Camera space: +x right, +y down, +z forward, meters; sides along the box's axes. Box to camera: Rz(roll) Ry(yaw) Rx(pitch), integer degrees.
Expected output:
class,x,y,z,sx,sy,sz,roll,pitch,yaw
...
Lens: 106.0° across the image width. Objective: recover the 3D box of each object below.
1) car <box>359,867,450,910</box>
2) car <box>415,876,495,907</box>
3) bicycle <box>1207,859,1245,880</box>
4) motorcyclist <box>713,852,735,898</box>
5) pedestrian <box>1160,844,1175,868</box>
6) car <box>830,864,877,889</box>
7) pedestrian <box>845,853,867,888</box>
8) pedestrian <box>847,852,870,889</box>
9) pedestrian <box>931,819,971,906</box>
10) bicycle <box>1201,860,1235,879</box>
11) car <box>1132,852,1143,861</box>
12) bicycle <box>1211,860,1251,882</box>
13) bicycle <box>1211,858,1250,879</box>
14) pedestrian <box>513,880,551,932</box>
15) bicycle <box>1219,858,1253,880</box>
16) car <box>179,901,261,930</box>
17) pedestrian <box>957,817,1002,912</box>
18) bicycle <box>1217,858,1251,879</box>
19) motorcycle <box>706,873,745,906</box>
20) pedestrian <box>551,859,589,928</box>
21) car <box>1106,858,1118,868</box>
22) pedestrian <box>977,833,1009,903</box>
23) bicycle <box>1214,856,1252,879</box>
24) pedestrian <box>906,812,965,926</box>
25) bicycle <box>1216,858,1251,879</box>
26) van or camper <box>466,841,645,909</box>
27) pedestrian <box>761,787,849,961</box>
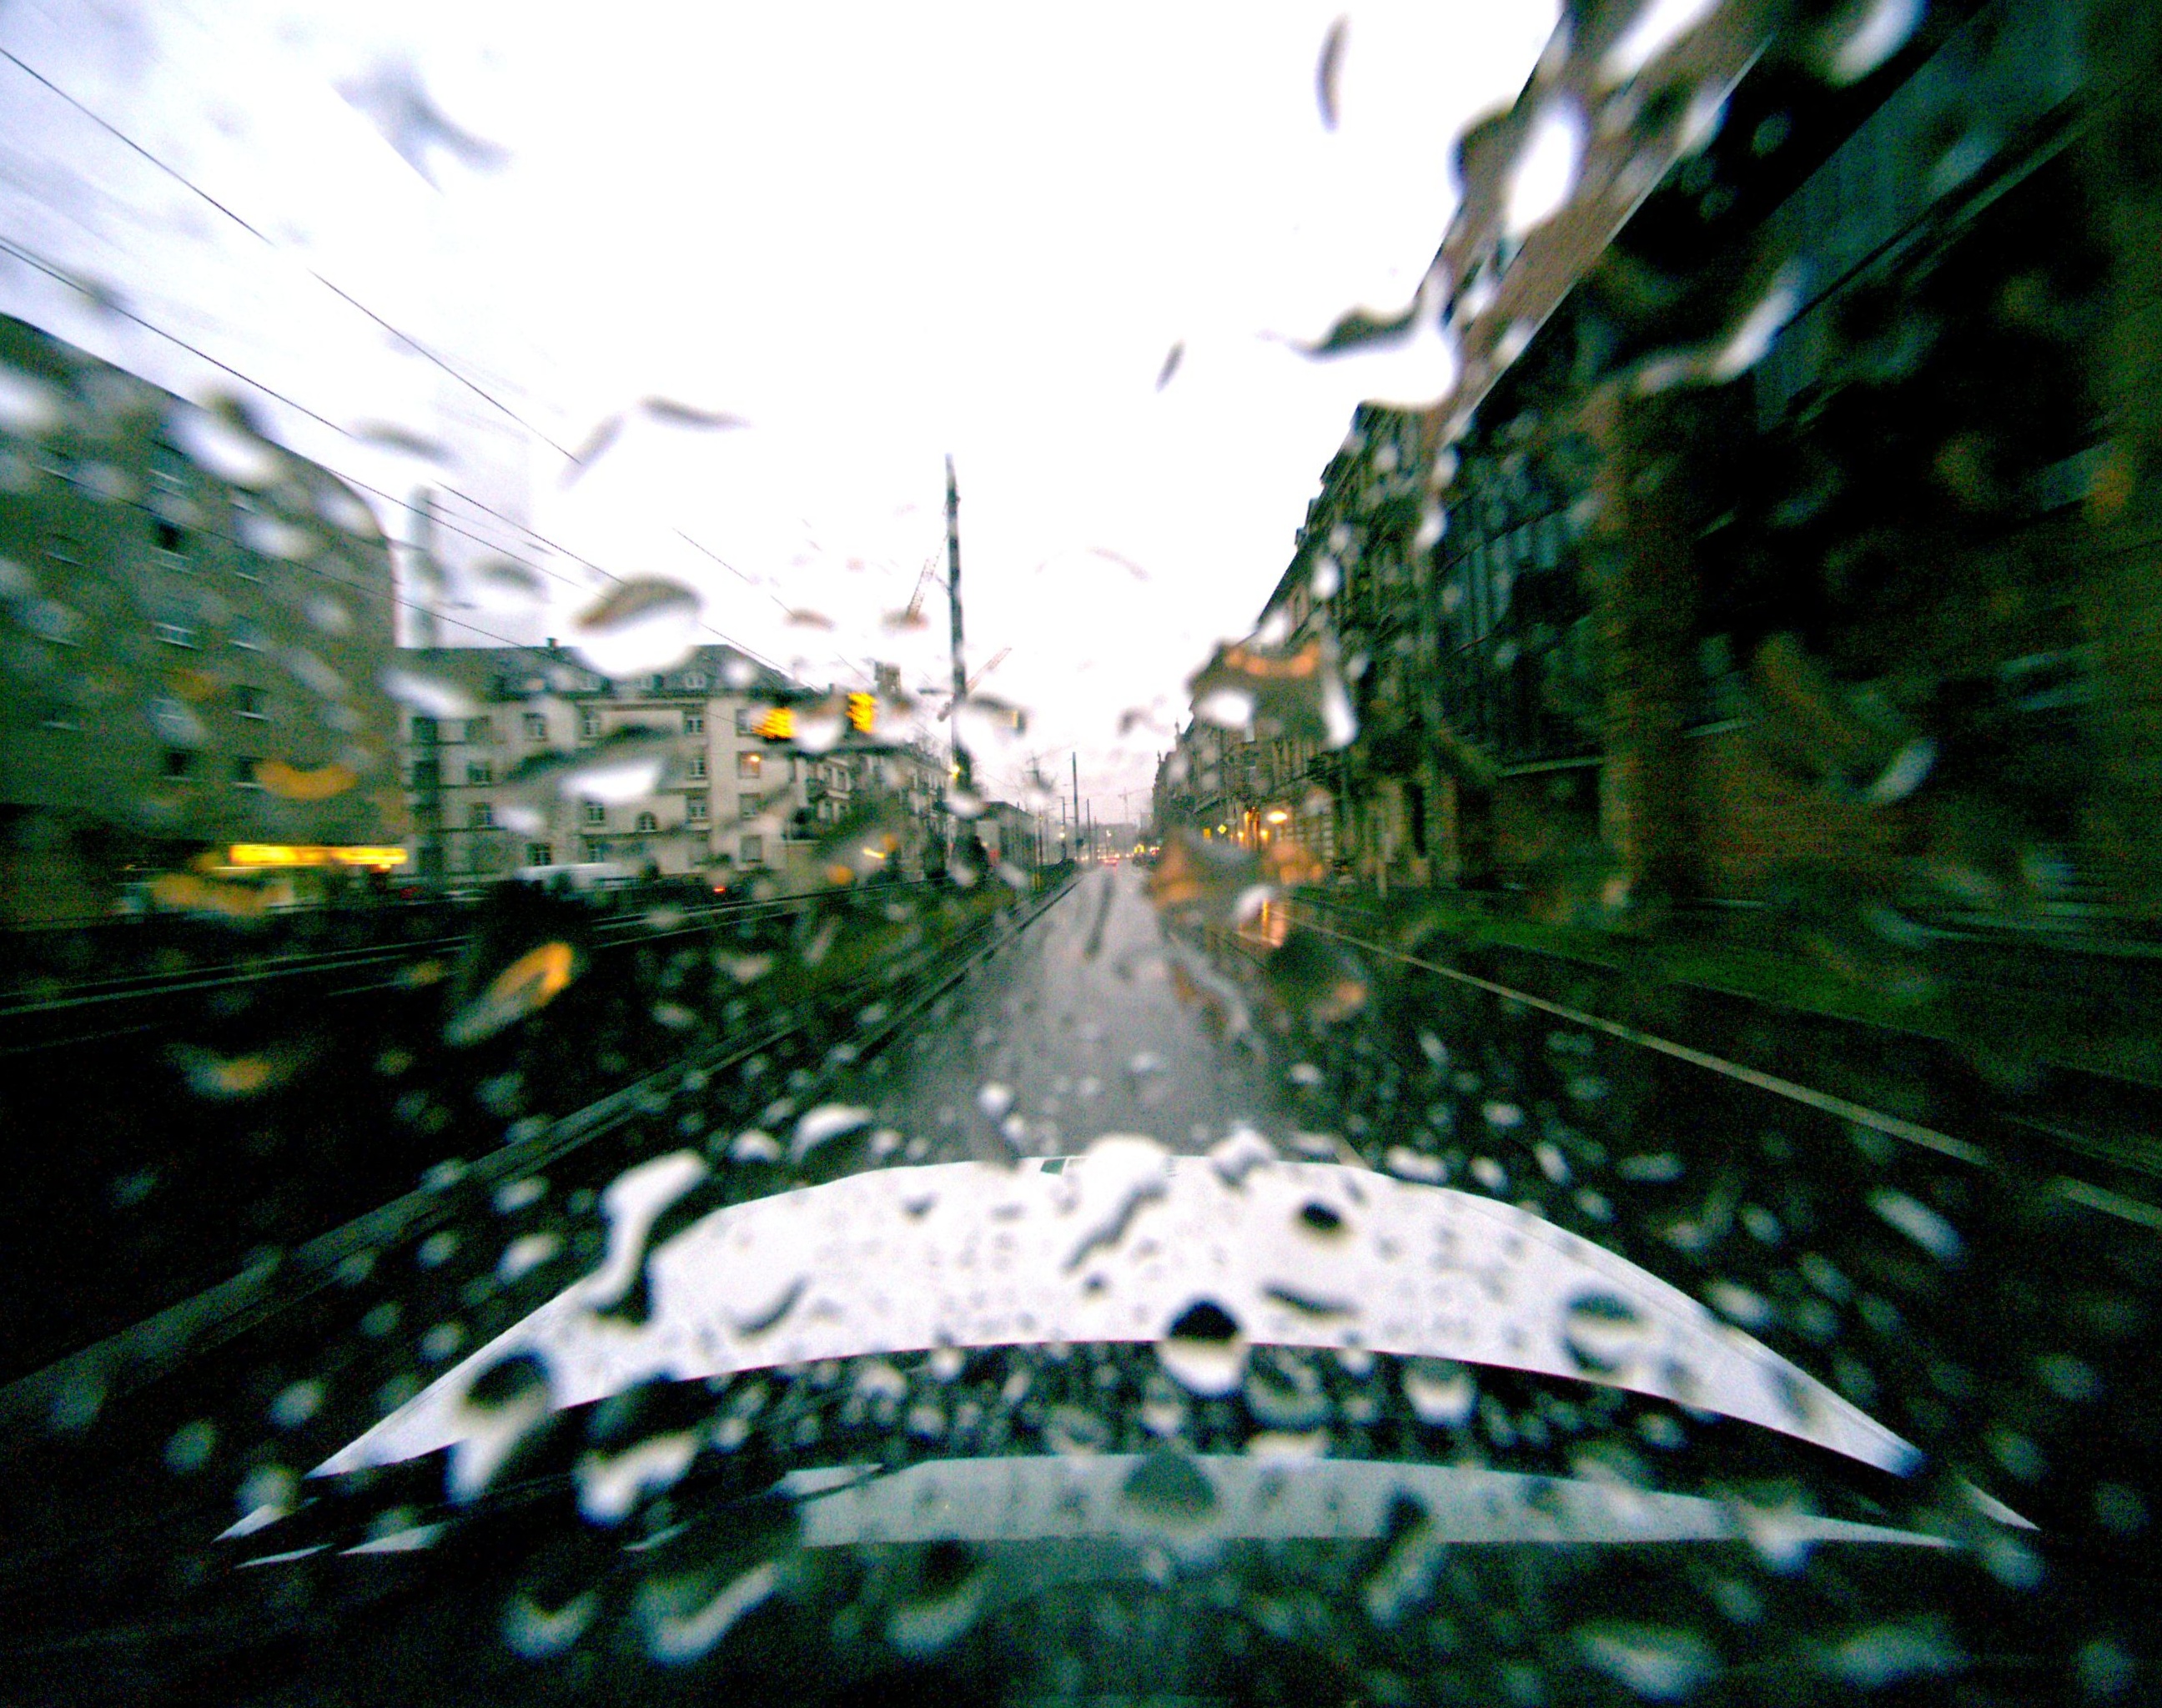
class,x,y,z,sx,sy,sz,roll,pitch,yaw
car,-35.684,1.783,43.082,1.742,2.034,4.131,-3,0,-9
car,-33.547,1.992,43.784,1.601,1.430,4.131,-3,0,-9
bicycle,8.620,0.919,48.522,2.137,1.055,0.425,-5,1,0
motorcyclist,-11.788,0.676,26.909,0.497,1.496,0.556,-1,0,-3
pedestrian,7.408,0.194,69.734,0.906,2.013,0.861,-3,-1,37
car,-13.446,1.322,48.303,1.676,1.354,3.546,-1,-1,1
pedestrian,-11.495,0.825,41.630,0.802,1.780,0.813,-1,-1,-40
pedestrian,-10.845,0.807,39.732,0.802,1.780,0.813,-1,-1,-40
pedestrian,-3.261,0.205,20.498,0.807,2.110,0.804,-2,0,-1
bicycle,8.581,0.992,50.994,2.098,1.052,0.474,-4,0,-25
car,10.553,0.409,151.671,1.791,1.604,3.774,-3,0,4
bicycle,8.601,0.948,46.649,2.137,1.055,0.425,-5,1,0
bicycle,8.649,0.817,47.138,2.137,1.055,0.484,-4,0,0
pedestrian,-12.230,1.150,18.141,0.612,1.103,0.584,-1,-1,-42
bicycle,8.287,0.785,43.567,1.724,1.055,0.371,-4,0,0
car,-52.150,3.709,49.380,1.450,1.425,3.313,-3,0,-2
pedestrian,-2.313,0.235,18.668,0.806,2.110,0.805,-2,0,2
bicycle,8.391,0.795,44.750,1.724,1.055,0.371,-4,0,0
motorcycle,-11.793,1.170,27.070,0.511,1.008,1.805,-1,0,-2
pedestrian,-11.615,0.879,18.512,0.640,1.524,0.747,-1,-1,-40
car,4.854,1.350,127.819,1.776,1.467,3.152,-3,0,4
pedestrian,-2.701,0.423,25.101,0.807,2.110,0.804,-2,0,-1
bicycle,8.509,0.741,45.598,2.001,1.095,0.425,-5,0,0
pedestrian,-2.589,0.257,14.555,0.806,1.947,0.805,-2,0,2
bicycle,8.245,0.790,44.070,1.724,1.055,0.371,-4,0,0
van or camper,-23.109,0.859,36.317,2.755,2.682,6.774,-1,0,11
pedestrian,-2.847,0.187,8.475,0.778,1.704,0.769,-2,-1,-16
